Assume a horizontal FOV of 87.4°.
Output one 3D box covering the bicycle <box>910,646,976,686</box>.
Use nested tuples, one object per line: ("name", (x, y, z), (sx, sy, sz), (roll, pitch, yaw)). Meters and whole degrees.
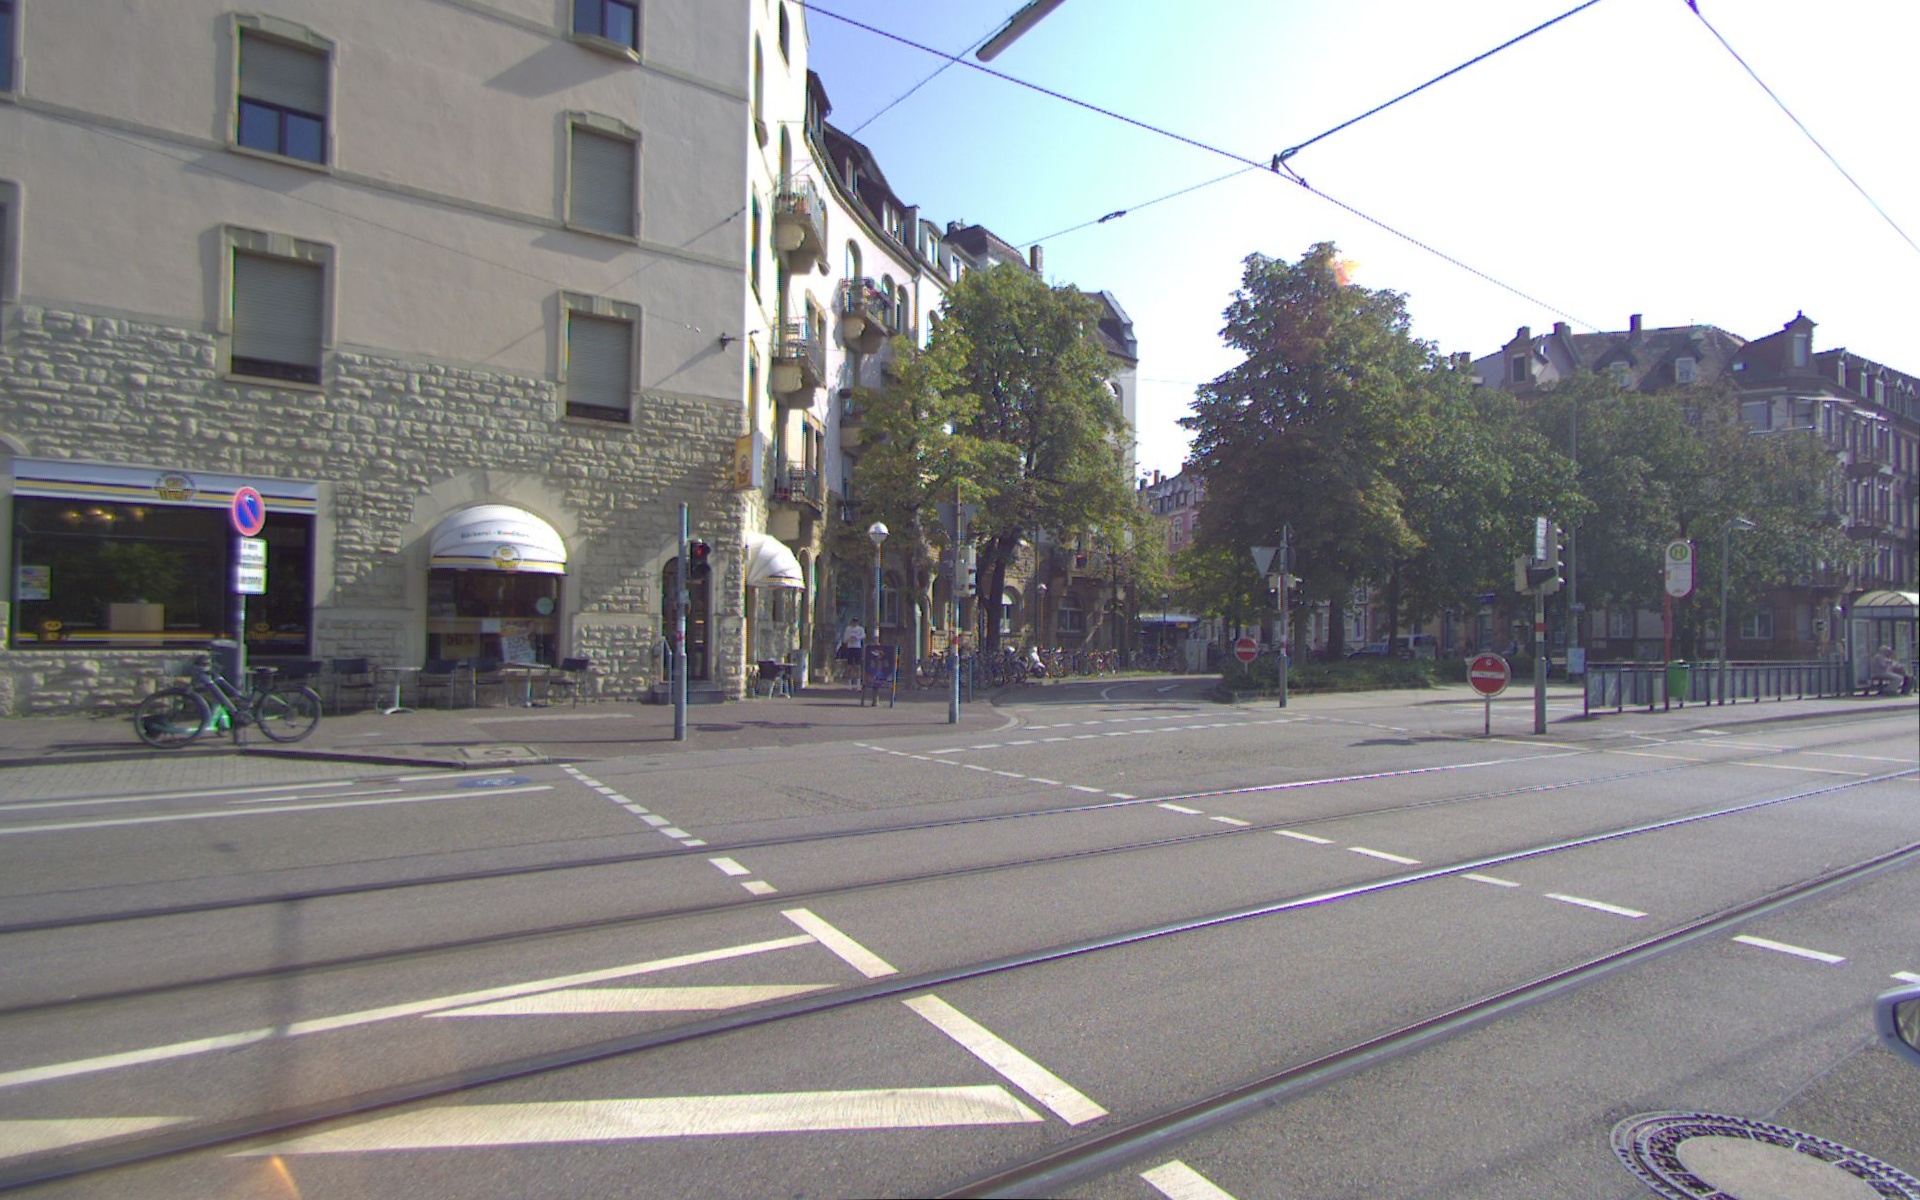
("bicycle", (-0.492, 1.927, 29.480), (1.846, 1.127, 0.569), (2, -2, -13))

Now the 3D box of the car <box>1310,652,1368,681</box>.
("car", (26.472, 4.631, 70.304), (1.965, 1.852, 3.992), (1, -2, -11))

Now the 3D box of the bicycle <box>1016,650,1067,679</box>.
("bicycle", (3.137, 2.491, 38.753), (1.842, 1.041, 0.664), (0, -2, 23))

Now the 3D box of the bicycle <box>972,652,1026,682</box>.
("bicycle", (1.380, 2.337, 35.337), (1.768, 0.989, 0.661), (1, -2, 16))

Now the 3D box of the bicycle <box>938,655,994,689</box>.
("bicycle", (0.160, 2.066, 28.846), (1.578, 0.932, 0.479), (2, -2, -3))

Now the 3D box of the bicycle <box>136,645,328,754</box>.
("bicycle", (-8.902, 1.185, 12.344), (1.844, 1.242, 0.449), (2, -3, -43))

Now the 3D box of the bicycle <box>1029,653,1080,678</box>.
("bicycle", (3.739, 2.594, 39.879), (1.875, 0.947, 0.738), (0, -2, 23))

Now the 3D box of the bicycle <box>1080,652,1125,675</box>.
("bicycle", (6.182, 2.756, 43.626), (1.850, 0.947, 0.636), (0, -3, 40))

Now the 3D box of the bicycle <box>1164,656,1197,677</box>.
("bicycle", (10.334, 3.110, 47.013), (1.752, 0.990, 0.422), (2, -2, -34))

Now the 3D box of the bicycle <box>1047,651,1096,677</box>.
("bicycle", (4.568, 2.631, 41.170), (1.864, 0.993, 0.686), (0, -2, 23))

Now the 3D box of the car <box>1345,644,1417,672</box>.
("car", (25.177, 3.459, 60.246), (1.964, 1.589, 4.330), (1, -2, -9))

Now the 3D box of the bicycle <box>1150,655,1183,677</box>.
("bicycle", (9.656, 3.093, 47.001), (1.752, 0.990, 0.422), (2, -2, -34))

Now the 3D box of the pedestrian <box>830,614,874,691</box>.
("pedestrian", (-2.735, 1.322, 25.459), (0.768, 1.918, 0.886), (2, -2, -33))

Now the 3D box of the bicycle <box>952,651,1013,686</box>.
("bicycle", (0.714, 2.162, 31.770), (1.841, 1.047, 0.570), (1, -2, 18))

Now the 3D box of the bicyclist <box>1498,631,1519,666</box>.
("bicyclist", (29.437, 2.605, 53.880), (0.971, 1.881, 0.492), (0, -2, 27))

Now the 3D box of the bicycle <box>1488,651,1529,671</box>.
("bicycle", (29.415, 3.268, 53.878), (1.907, 0.990, 0.496), (0, -2, 27))

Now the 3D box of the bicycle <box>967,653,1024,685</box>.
("bicycle", (1.182, 2.270, 33.131), (1.768, 0.997, 0.570), (1, -2, 16))

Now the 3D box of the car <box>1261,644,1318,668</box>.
("car", (22.806, 3.840, 69.714), (1.964, 1.589, 4.329), (1, -2, -11))

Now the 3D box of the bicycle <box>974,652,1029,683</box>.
("bicycle", (1.413, 2.295, 34.323), (1.768, 0.996, 0.661), (1, -2, 16))

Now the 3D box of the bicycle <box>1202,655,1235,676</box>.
("bicycle", (12.713, 3.224, 49.392), (0.597, 0.990, 1.759), (1, -2, -25))

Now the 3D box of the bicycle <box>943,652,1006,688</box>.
("bicycle", (0.438, 2.108, 30.300), (1.840, 1.016, 0.570), (1, -2, 3))

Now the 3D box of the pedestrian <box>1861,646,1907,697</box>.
("pedestrian", (25.902, 1.988, 28.152), (0.769, 1.376, 0.822), (2, -2, -37))

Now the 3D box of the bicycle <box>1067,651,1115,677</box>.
("bicycle", (5.499, 2.679, 42.219), (1.864, 0.993, 0.686), (0, -2, 23))

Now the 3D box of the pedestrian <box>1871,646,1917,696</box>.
("pedestrian", (26.693, 2.022, 28.709), (0.769, 1.376, 0.822), (2, -2, -37))

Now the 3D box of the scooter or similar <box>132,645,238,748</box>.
("scooter or similar", (-9.649, 1.177, 12.533), (0.359, 1.213, 1.035), (0, -2, 11))

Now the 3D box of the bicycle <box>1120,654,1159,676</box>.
("bicycle", (8.486, 3.080, 47.538), (1.741, 0.990, 0.518), (-1, -3, 36))

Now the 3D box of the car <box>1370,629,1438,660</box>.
("car", (27.780, 2.795, 62.970), (1.965, 1.852, 3.992), (1, -2, -11))

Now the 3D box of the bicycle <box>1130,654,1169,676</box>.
("bicycle", (9.053, 3.102, 48.079), (1.741, 0.990, 0.603), (-1, -3, 34))

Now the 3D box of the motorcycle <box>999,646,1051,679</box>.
("motorcycle", (2.439, 2.351, 37.913), (1.839, 1.169, 0.607), (0, -2, 23))

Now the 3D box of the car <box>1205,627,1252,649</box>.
("car", (23.056, 3.263, 86.374), (1.970, 1.852, 3.982), (1, -2, -20))
